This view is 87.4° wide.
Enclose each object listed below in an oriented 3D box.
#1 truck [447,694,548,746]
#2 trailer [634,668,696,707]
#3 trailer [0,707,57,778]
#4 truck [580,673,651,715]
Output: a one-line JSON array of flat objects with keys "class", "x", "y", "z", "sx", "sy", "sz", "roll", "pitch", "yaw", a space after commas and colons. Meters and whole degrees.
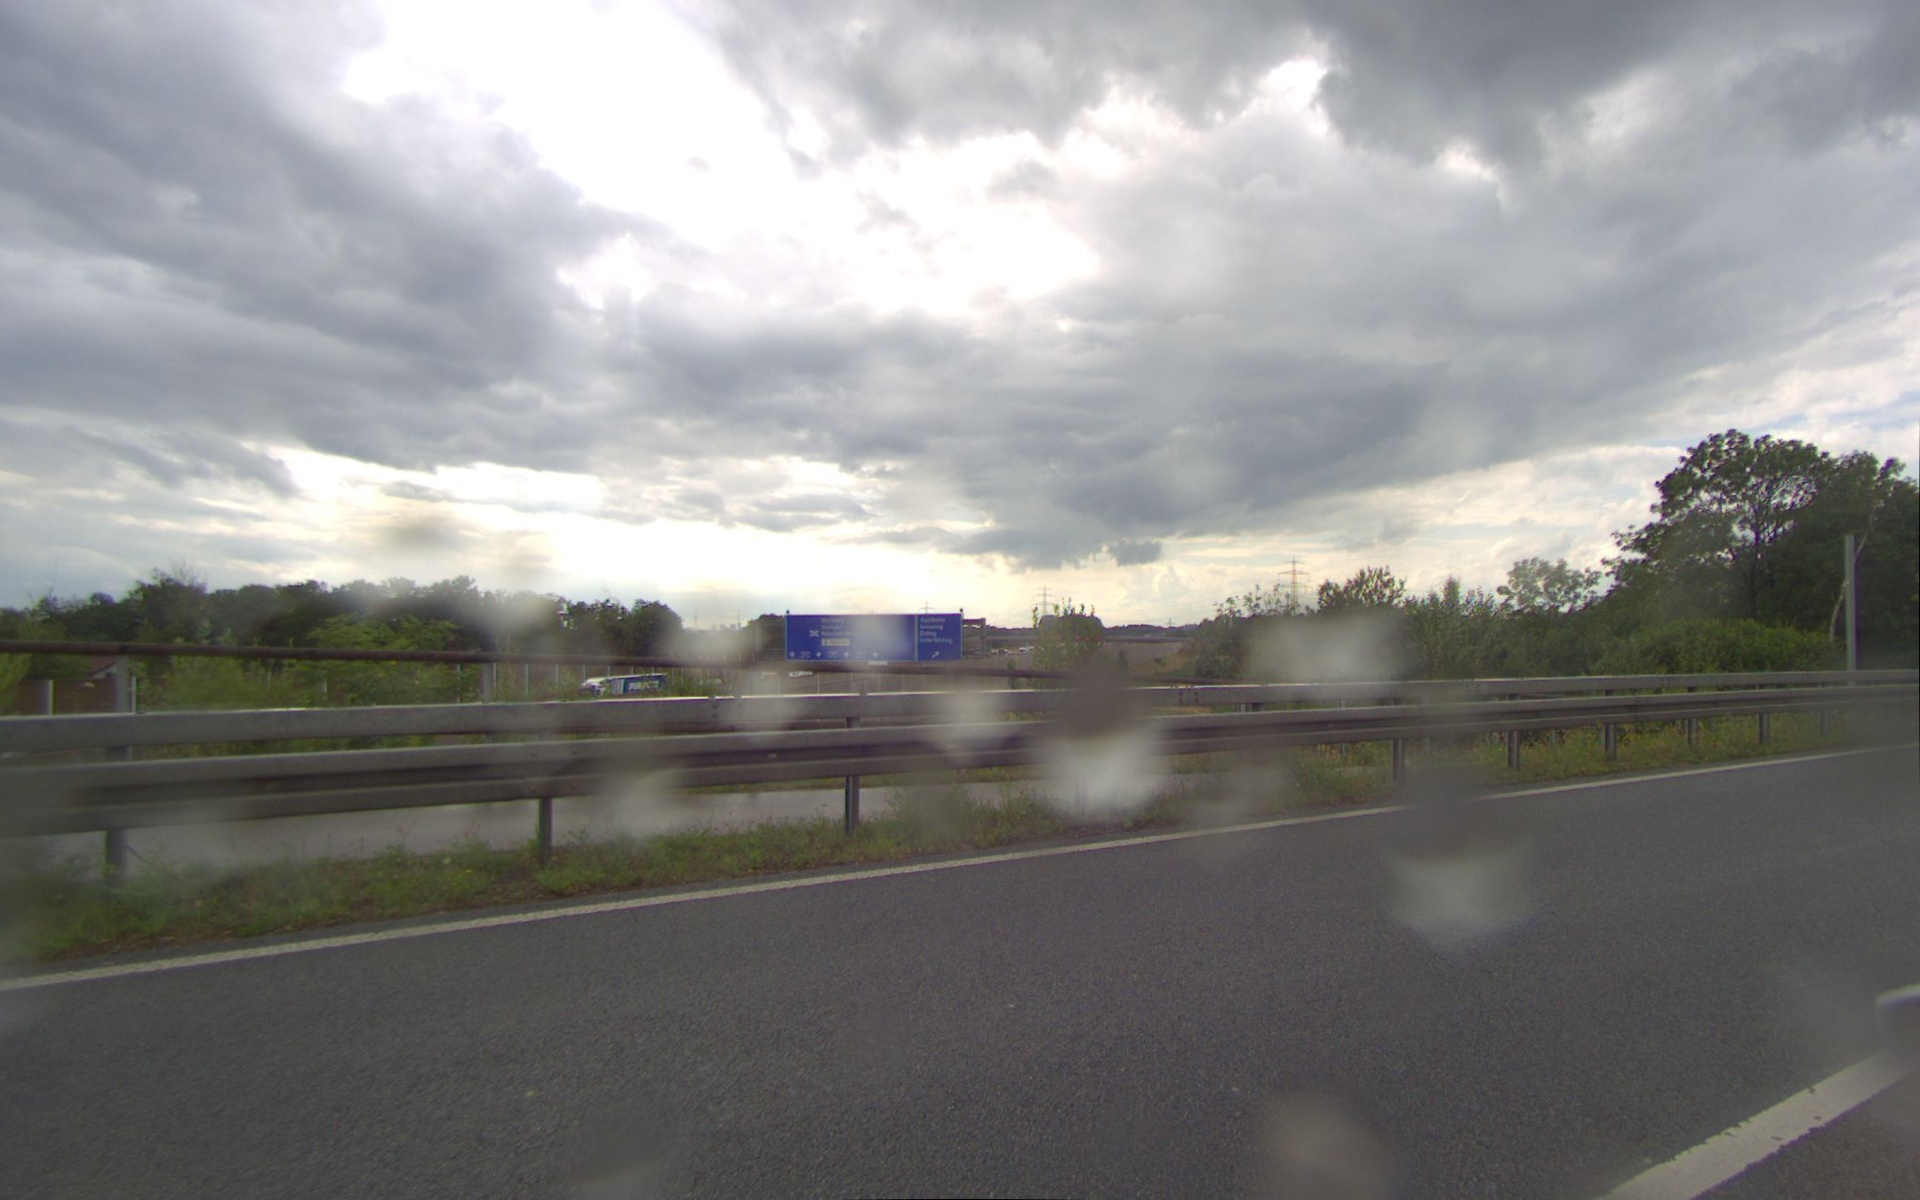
[{"class": "truck", "x": -45.320, "y": 11.660, "z": 98.885, "sx": 2.388, "sy": 3.812, "sz": 11.175, "roll": 1, "pitch": 0, "yaw": 15}, {"class": "trailer", "x": -39.201, "y": 11.525, "z": 133.977, "sx": 2.388, "sy": 4.249, "sz": 11.175, "roll": 1, "pitch": 0, "yaw": 15}, {"class": "trailer", "x": -58.515, "y": 8.602, "z": 58.120, "sx": 2.388, "sy": 3.812, "sz": 9.463, "roll": 1, "pitch": 0, "yaw": 15}, {"class": "truck", "x": -42.104, "y": 11.416, "z": 123.211, "sx": 2.388, "sy": 4.249, "sz": 11.175, "roll": 1, "pitch": 0, "yaw": 15}]
